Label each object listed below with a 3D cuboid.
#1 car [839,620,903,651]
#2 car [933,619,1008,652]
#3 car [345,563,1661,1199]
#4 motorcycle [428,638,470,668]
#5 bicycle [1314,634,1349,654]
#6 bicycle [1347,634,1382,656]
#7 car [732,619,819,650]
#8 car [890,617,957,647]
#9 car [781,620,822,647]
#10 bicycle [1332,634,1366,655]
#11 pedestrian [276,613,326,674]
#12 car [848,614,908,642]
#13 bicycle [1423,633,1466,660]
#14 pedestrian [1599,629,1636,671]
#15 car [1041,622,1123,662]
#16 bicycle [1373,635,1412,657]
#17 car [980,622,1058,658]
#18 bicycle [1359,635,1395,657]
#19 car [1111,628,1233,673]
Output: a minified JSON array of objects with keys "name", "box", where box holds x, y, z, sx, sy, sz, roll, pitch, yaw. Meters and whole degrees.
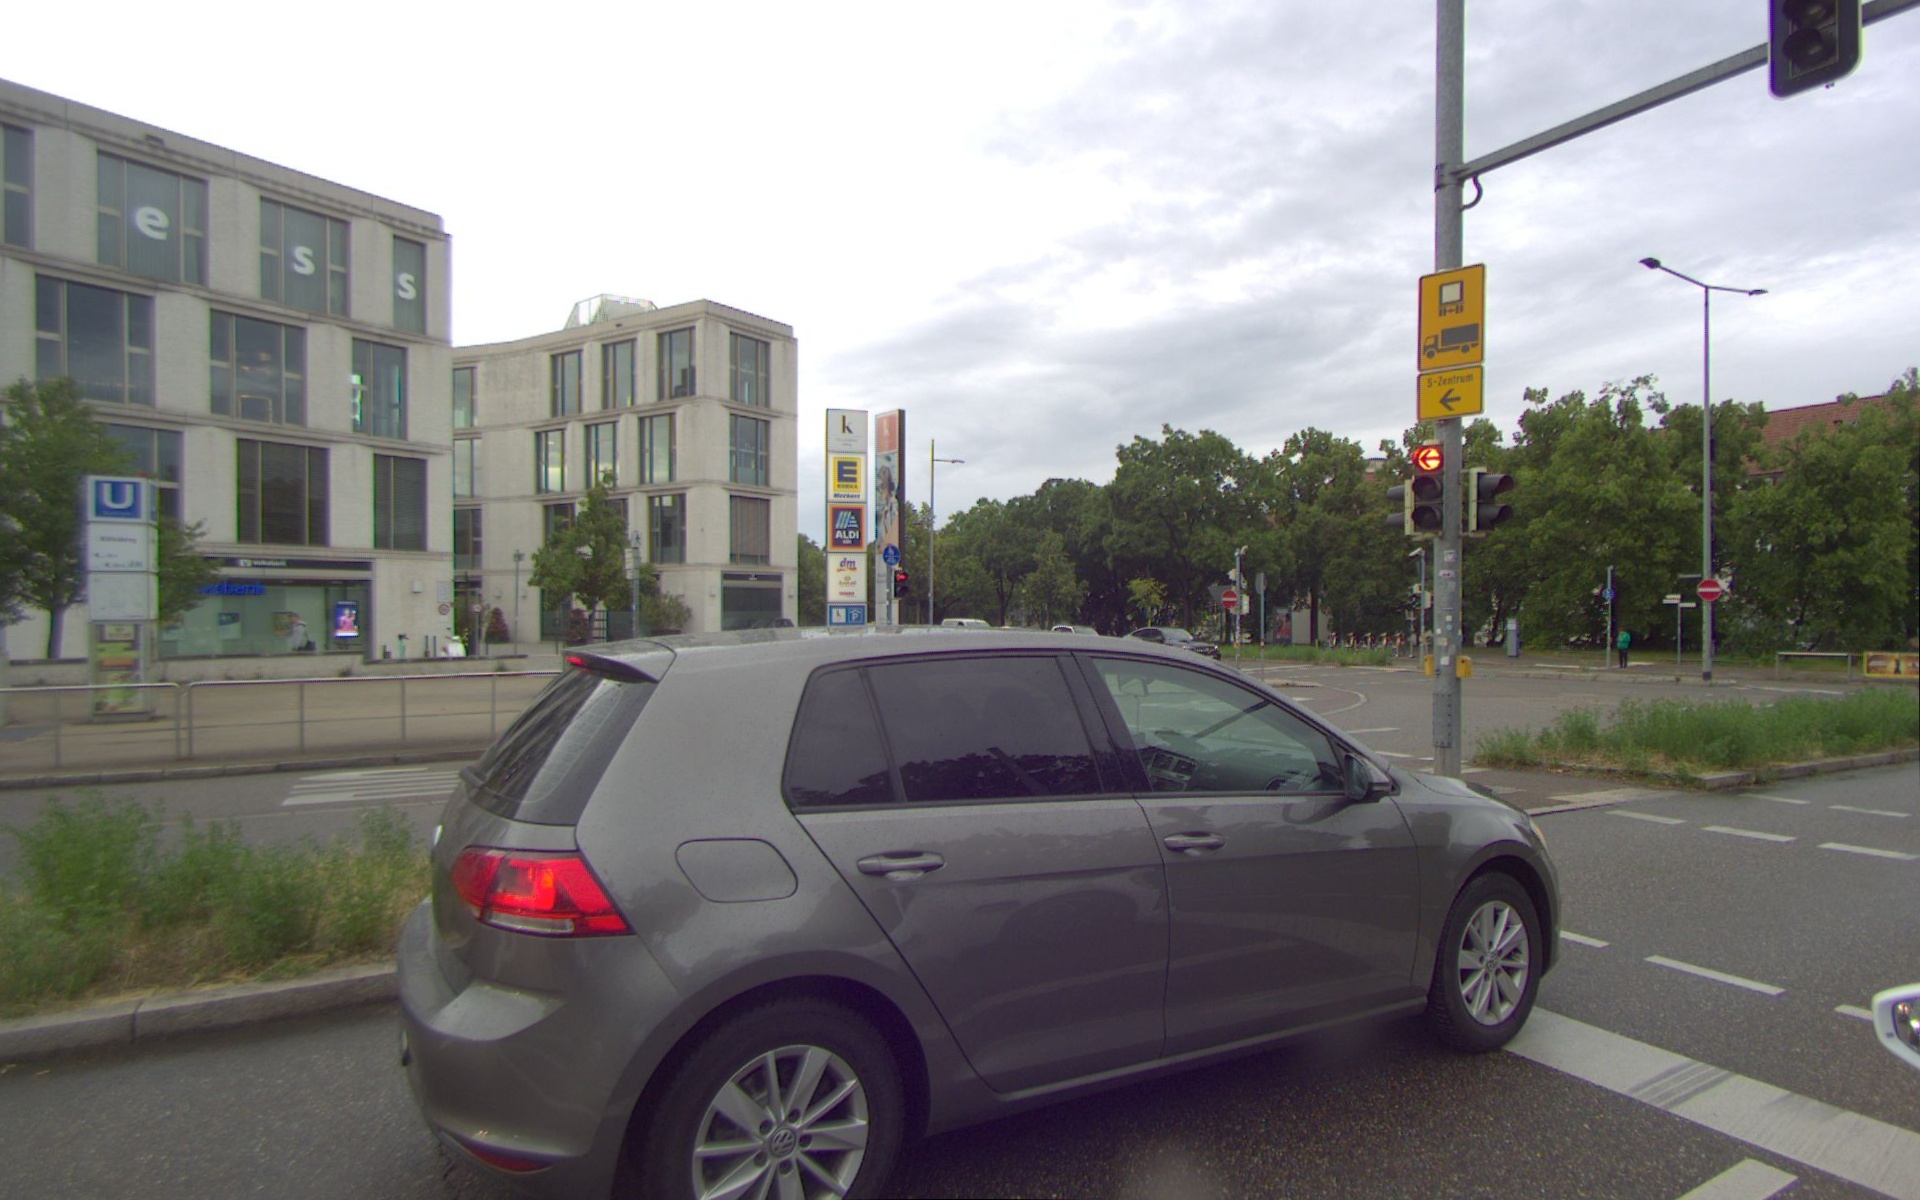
[{"name":"car","box":[-5.335,2.108,59.692,1.976,1.615,4.855,2,0,-29]},{"name":"car","box":[0.526,1.942,55.399,1.976,1.615,4.855,2,0,-29]},{"name":"car","box":[0.398,0.751,3.563,4.325,1.501,1.807,2,-1,-30]},{"name":"motorcycle","box":[-14.211,1.461,27.932,1.081,0.750,0.522,2,0,29]},{"name":"bicycle","box":[20.261,2.401,54.759,1.959,1.085,0.649,2,0,-30]},{"name":"bicycle","box":[21.365,2.377,53.029,1.959,1.085,0.649,2,0,-30]},{"name":"car","box":[-9.193,1.713,50.312,1.968,1.483,3.985,0,-2,37]},{"name":"car","box":[-2.263,1.882,60.387,1.976,1.615,4.855,2,0,-29]},{"name":"car","box":[-12.777,2.662,80.717,1.976,2.040,3.969,1,-1,-29]},{"name":"bicycle","box":[20.932,2.388,54.029,1.959,1.085,0.649,2,0,-30]},{"name":"pedestrian","box":[-18.020,1.189,27.466,0.752,1.626,0.911,0,-1,37]},{"name":"car","box":[-5.465,1.812,66.106,1.977,1.615,4.852,2,0,-31]},{"name":"bicycle","box":[23.753,2.301,49.256,1.959,1.266,0.986,2,0,-30]},{"name":"pedestrian","box":[27.922,2.122,42.654,0.933,1.750,0.919,2,0,-26]},{"name":"car","box":[5.550,1.906,46.021,1.976,1.615,3.536,2,0,-30]},{"name":"bicycle","box":[22.237,2.360,51.644,1.959,1.085,0.798,2,0,-30]},{"name":"car","box":[2.930,1.992,50.915,1.976,1.615,4.185,2,0,-29]},{"name":"bicycle","box":[21.666,2.394,52.169,1.959,1.085,0.649,2,0,-30]},{"name":"car","box":[8.389,1.963,40.234,1.976,1.520,5.001,2,0,-29]}]
